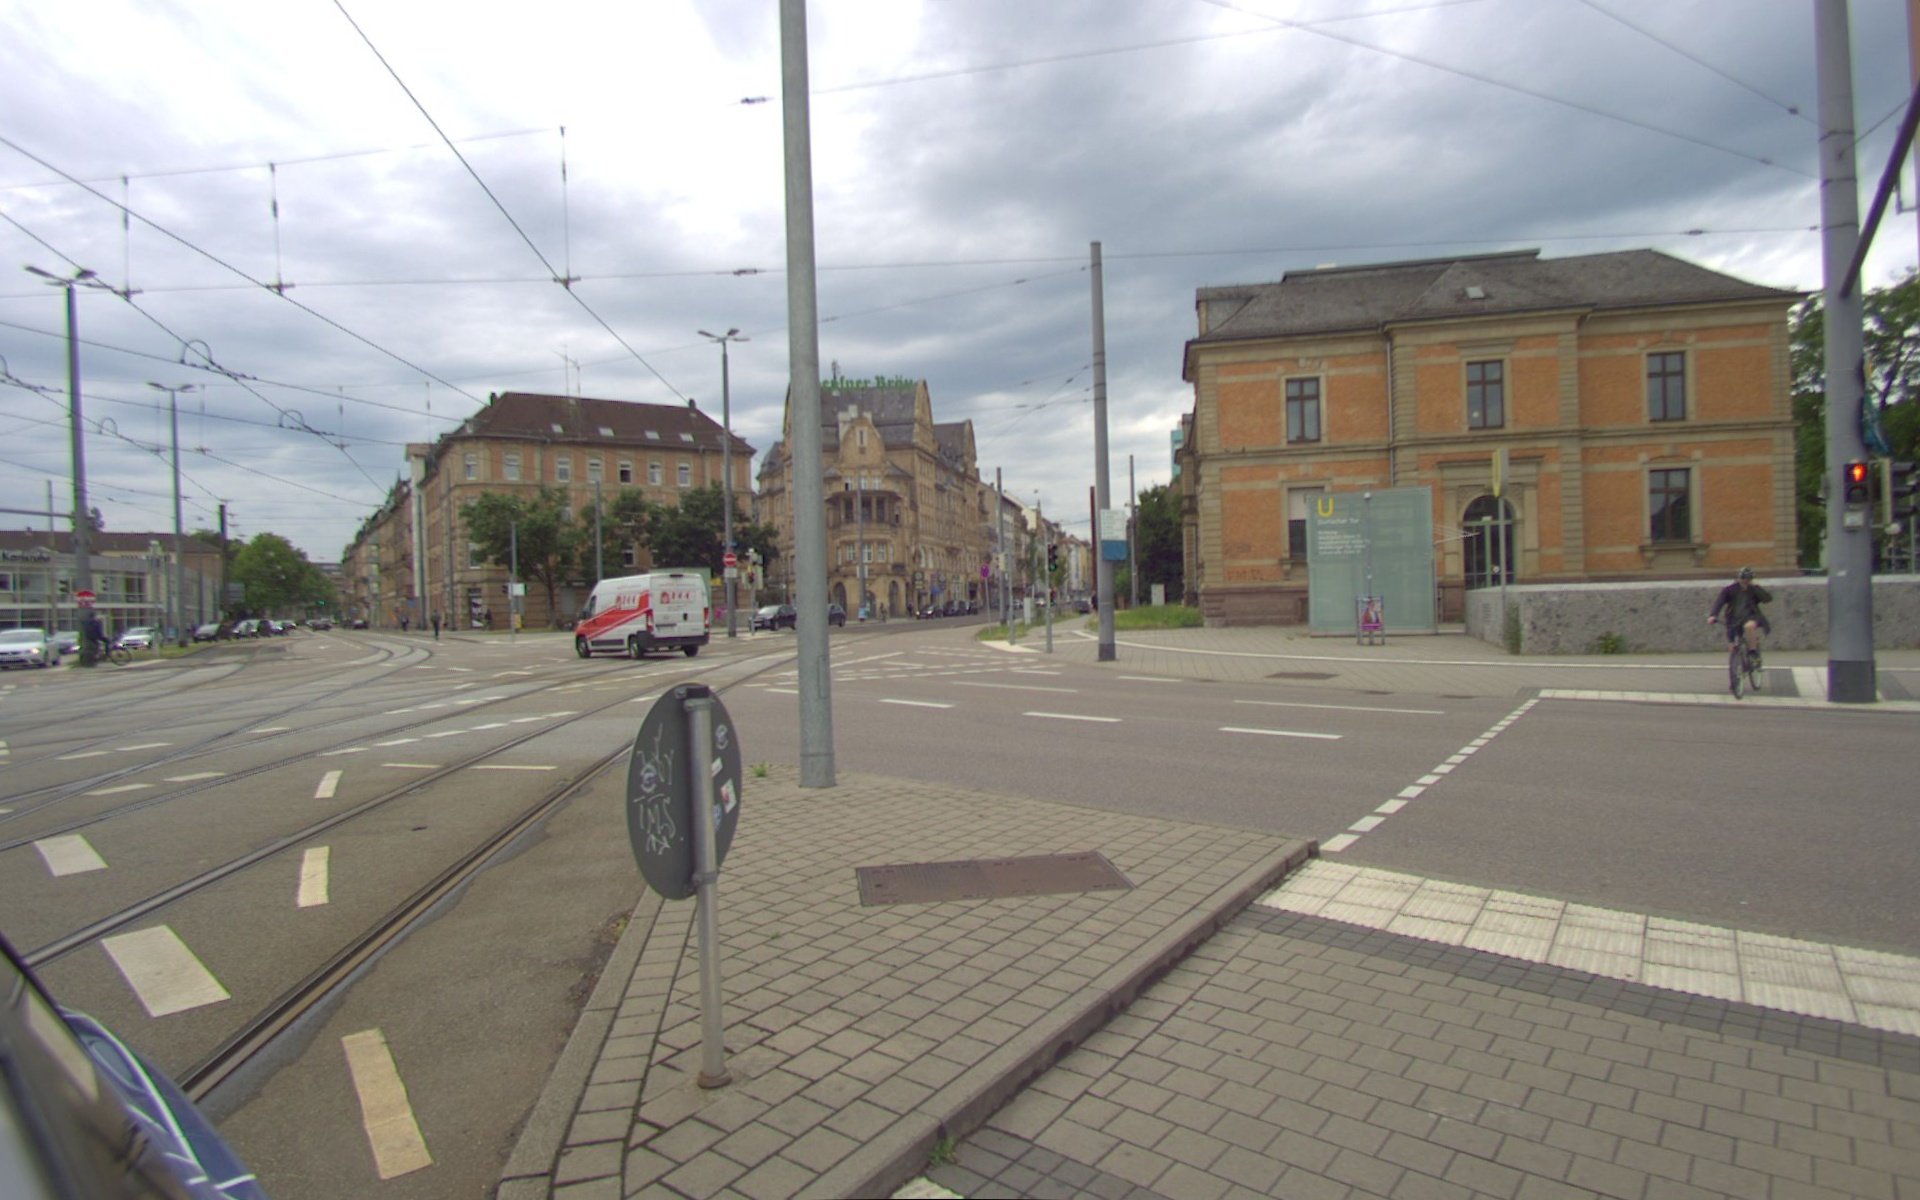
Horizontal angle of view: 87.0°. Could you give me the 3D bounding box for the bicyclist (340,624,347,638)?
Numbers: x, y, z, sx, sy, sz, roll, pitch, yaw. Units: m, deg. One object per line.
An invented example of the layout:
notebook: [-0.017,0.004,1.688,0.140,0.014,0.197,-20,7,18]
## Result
bicyclist: [-86.455,4.318,141.875,0.811,1.880,0.926,-1,-1,-35]

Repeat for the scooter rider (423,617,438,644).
scooter rider: [-33.221,1.930,63.486,0.808,1.640,0.571,-2,-1,-26]

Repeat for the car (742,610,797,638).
car: [-12.012,1.502,64.093,1.978,1.623,4.231,-2,0,10]

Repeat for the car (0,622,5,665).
car: [-47.872,2.155,49.199,1.969,2.029,4.005,-1,-1,-42]

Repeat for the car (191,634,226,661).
car: [-62.184,3.892,83.807,1.966,2.029,4.011,-2,0,-32]

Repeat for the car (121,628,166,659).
car: [-57.070,3.018,70.760,1.966,2.029,4.011,-2,0,-32]

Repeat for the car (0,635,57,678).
car: [-34.655,2.056,37.147,1.942,1.467,4.201,-2,-1,-38]

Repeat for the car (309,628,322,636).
car: [-113.838,5.642,178.662,1.786,1.442,4.027,-2,0,-35]

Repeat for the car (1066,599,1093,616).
car: [11.323,0.700,95.630,1.981,1.442,3.981,-2,0,14]

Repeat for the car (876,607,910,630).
car: [-5.731,1.565,86.497,1.814,1.773,3.986,-2,0,13]

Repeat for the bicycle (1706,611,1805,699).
bicycle: [11.439,0.753,14.532,2.089,1.036,0.796,-5,1,-44]

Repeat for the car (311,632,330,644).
car: [-84.474,4.991,133.611,1.858,1.481,4.475,-2,0,-35]

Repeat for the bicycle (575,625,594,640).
bicycle: [-27.698,2.379,74.680,0.742,1.038,2.403,-2,0,-33]

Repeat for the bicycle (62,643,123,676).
bicycle: [-30.486,2.072,35.580,0.523,1.078,1.605,-2,0,17]

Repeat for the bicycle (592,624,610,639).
bicycle: [-26.764,2.354,75.396,0.742,1.038,2.403,-1,-1,-33]

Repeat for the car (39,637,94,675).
car: [-52.317,3.240,59.316,1.967,2.029,4.010,-2,-1,-35]

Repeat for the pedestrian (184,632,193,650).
pedestrian: [-72.907,3.879,95.658,0.652,1.693,0.652,-1,-1,-34]

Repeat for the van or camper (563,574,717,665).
van or camper: [-10.002,0.633,31.305,2.253,2.547,5.577,0,-2,-44]

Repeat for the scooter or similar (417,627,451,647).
scooter or similar: [-33.023,2.318,63.573,1.874,1.174,0.576,-2,0,-26]

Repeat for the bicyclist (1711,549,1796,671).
bicyclist: [11.365,0.133,14.488,0.803,1.669,0.794,-5,1,-43]

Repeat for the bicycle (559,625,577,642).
bicycle: [-28.809,2.448,74.332,0.742,1.038,2.403,-2,3,-33]

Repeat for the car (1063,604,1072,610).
car: [26.545,1.742,249.087,1.813,1.477,3.989,-2,0,10]

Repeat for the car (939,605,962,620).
car: [-0.991,1.331,110.225,1.813,1.477,3.989,-2,0,10]

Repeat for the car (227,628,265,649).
car: [-65.365,3.520,92.733,2.334,1.768,5.145,-2,0,-30]

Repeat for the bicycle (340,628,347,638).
bicycle: [-86.501,4.610,141.966,0.786,1.302,2.417,-1,-1,-34]

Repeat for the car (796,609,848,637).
car: [-9.532,1.561,70.378,2.139,1.727,4.908,-3,-1,10]

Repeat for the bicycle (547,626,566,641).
bicycle: [-29.465,2.465,73.897,0.823,1.038,2.403,-2,0,-33]

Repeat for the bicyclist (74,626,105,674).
bicyclist: [-30.526,1.759,35.488,0.513,1.651,0.651,-2,-1,18]

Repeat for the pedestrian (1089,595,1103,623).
pedestrian: [9.151,0.622,68.034,0.802,1.846,0.846,-2,0,12]
